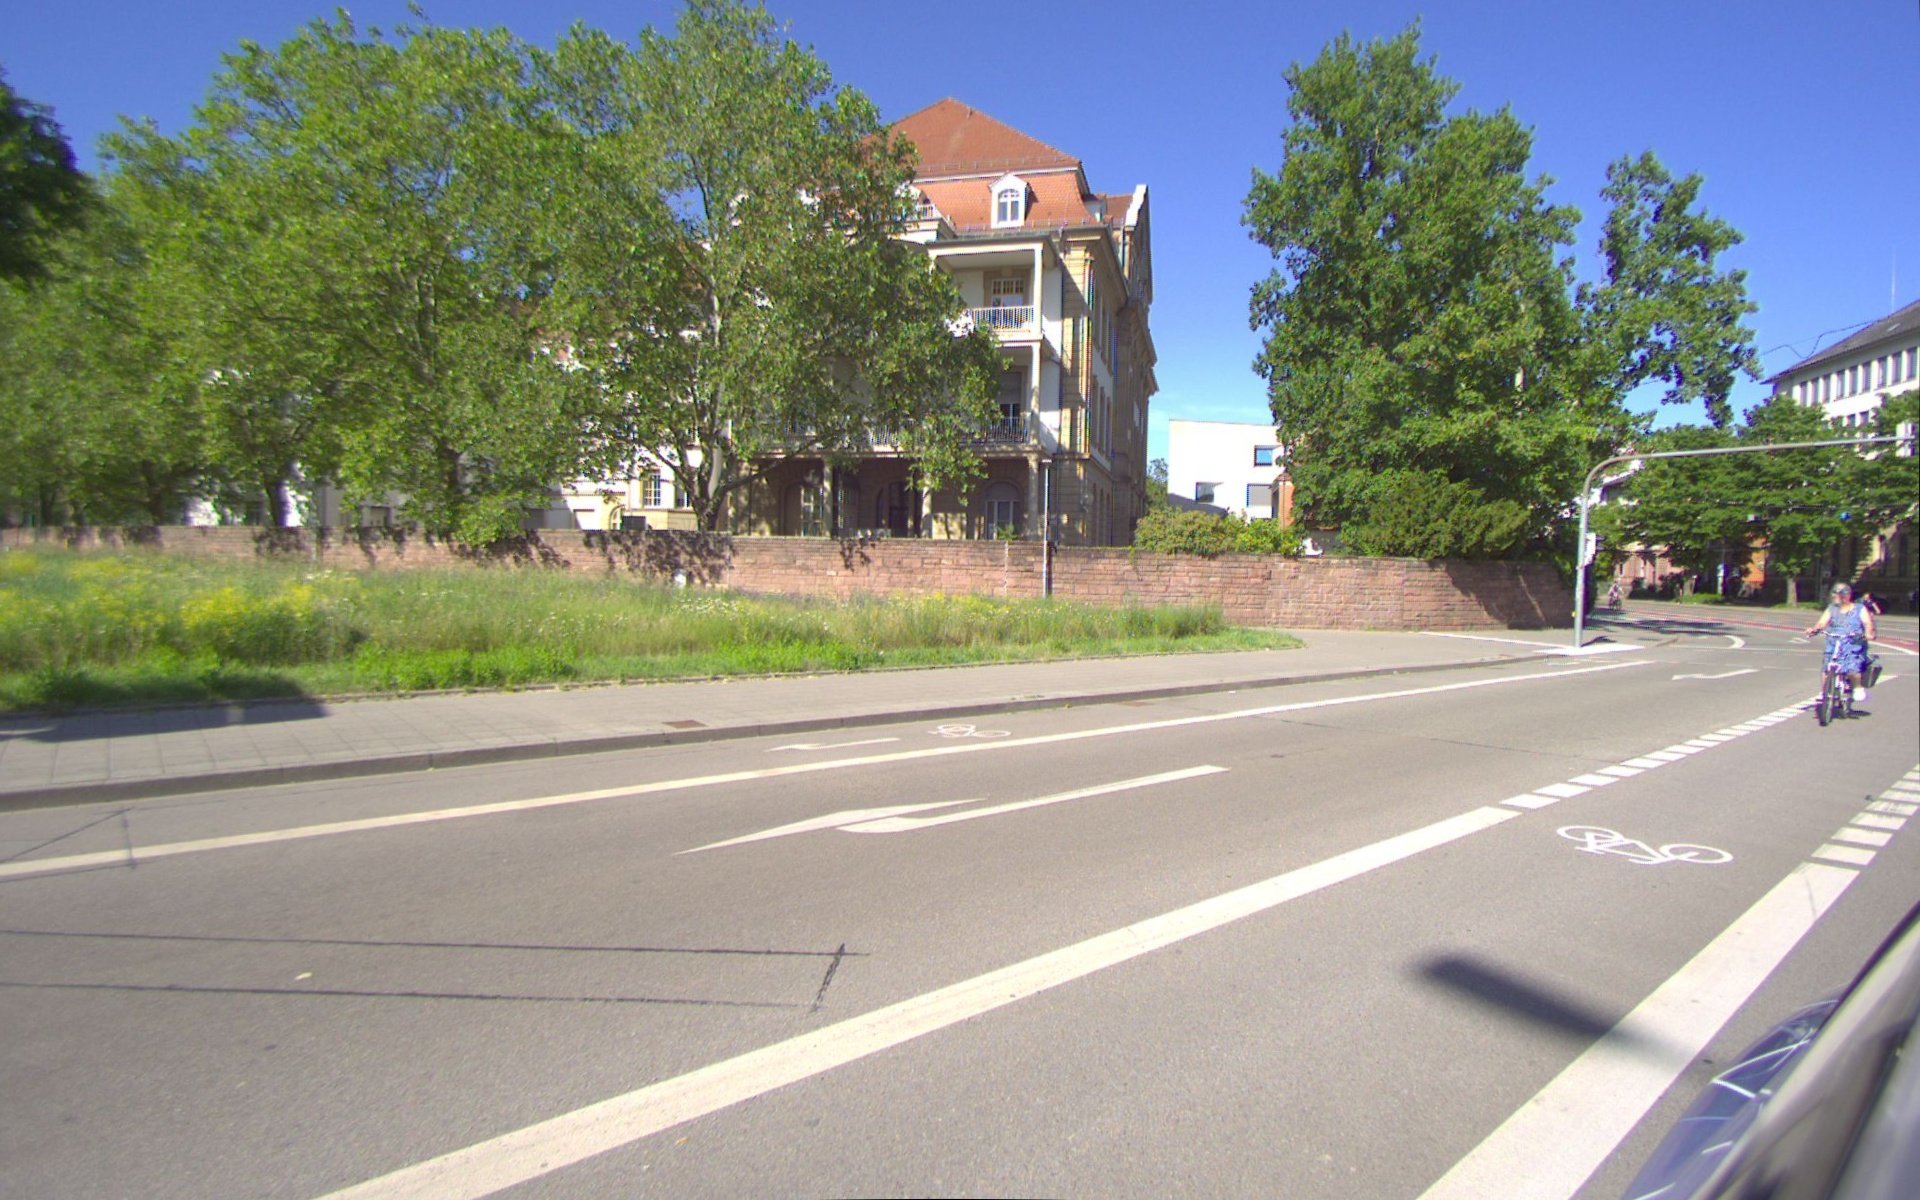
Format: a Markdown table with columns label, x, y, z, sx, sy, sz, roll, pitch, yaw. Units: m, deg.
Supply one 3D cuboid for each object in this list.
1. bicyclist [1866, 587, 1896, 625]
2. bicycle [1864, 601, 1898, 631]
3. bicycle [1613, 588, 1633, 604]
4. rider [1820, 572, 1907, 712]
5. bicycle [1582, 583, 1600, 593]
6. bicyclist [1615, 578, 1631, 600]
| label | x | y | z | sx | sy | sz | roll | pitch | yaw |
| --- | --- | --- | --- | --- | --- | --- | --- | --- | --- |
| bicyclist | 33.160 | 0.219 | 36.431 | 0.764 | 1.333 | 0.711 | 0 | 1 | -41 |
| bicycle | 33.248 | 0.576 | 36.526 | 1.723 | 1.018 | 0.711 | 0 | 1 | -41 |
| bicycle | 42.109 | -0.275 | 64.275 | 0.704 | 0.955 | 1.771 | 1 | 1 | 22 |
| rider | 11.130 | 0.479 | 12.459 | 0.971 | 1.640 | 0.658 | 0 | 1 | -41 |
| bicycle | 65.178 | -1.277 | 104.489 | 0.720 | 1.003 | 1.834 | 1 | 2 | 3 |
| bicyclist | 42.131 | -0.710 | 64.304 | 0.698 | 1.425 | 0.766 | 1 | 1 | 23 |
